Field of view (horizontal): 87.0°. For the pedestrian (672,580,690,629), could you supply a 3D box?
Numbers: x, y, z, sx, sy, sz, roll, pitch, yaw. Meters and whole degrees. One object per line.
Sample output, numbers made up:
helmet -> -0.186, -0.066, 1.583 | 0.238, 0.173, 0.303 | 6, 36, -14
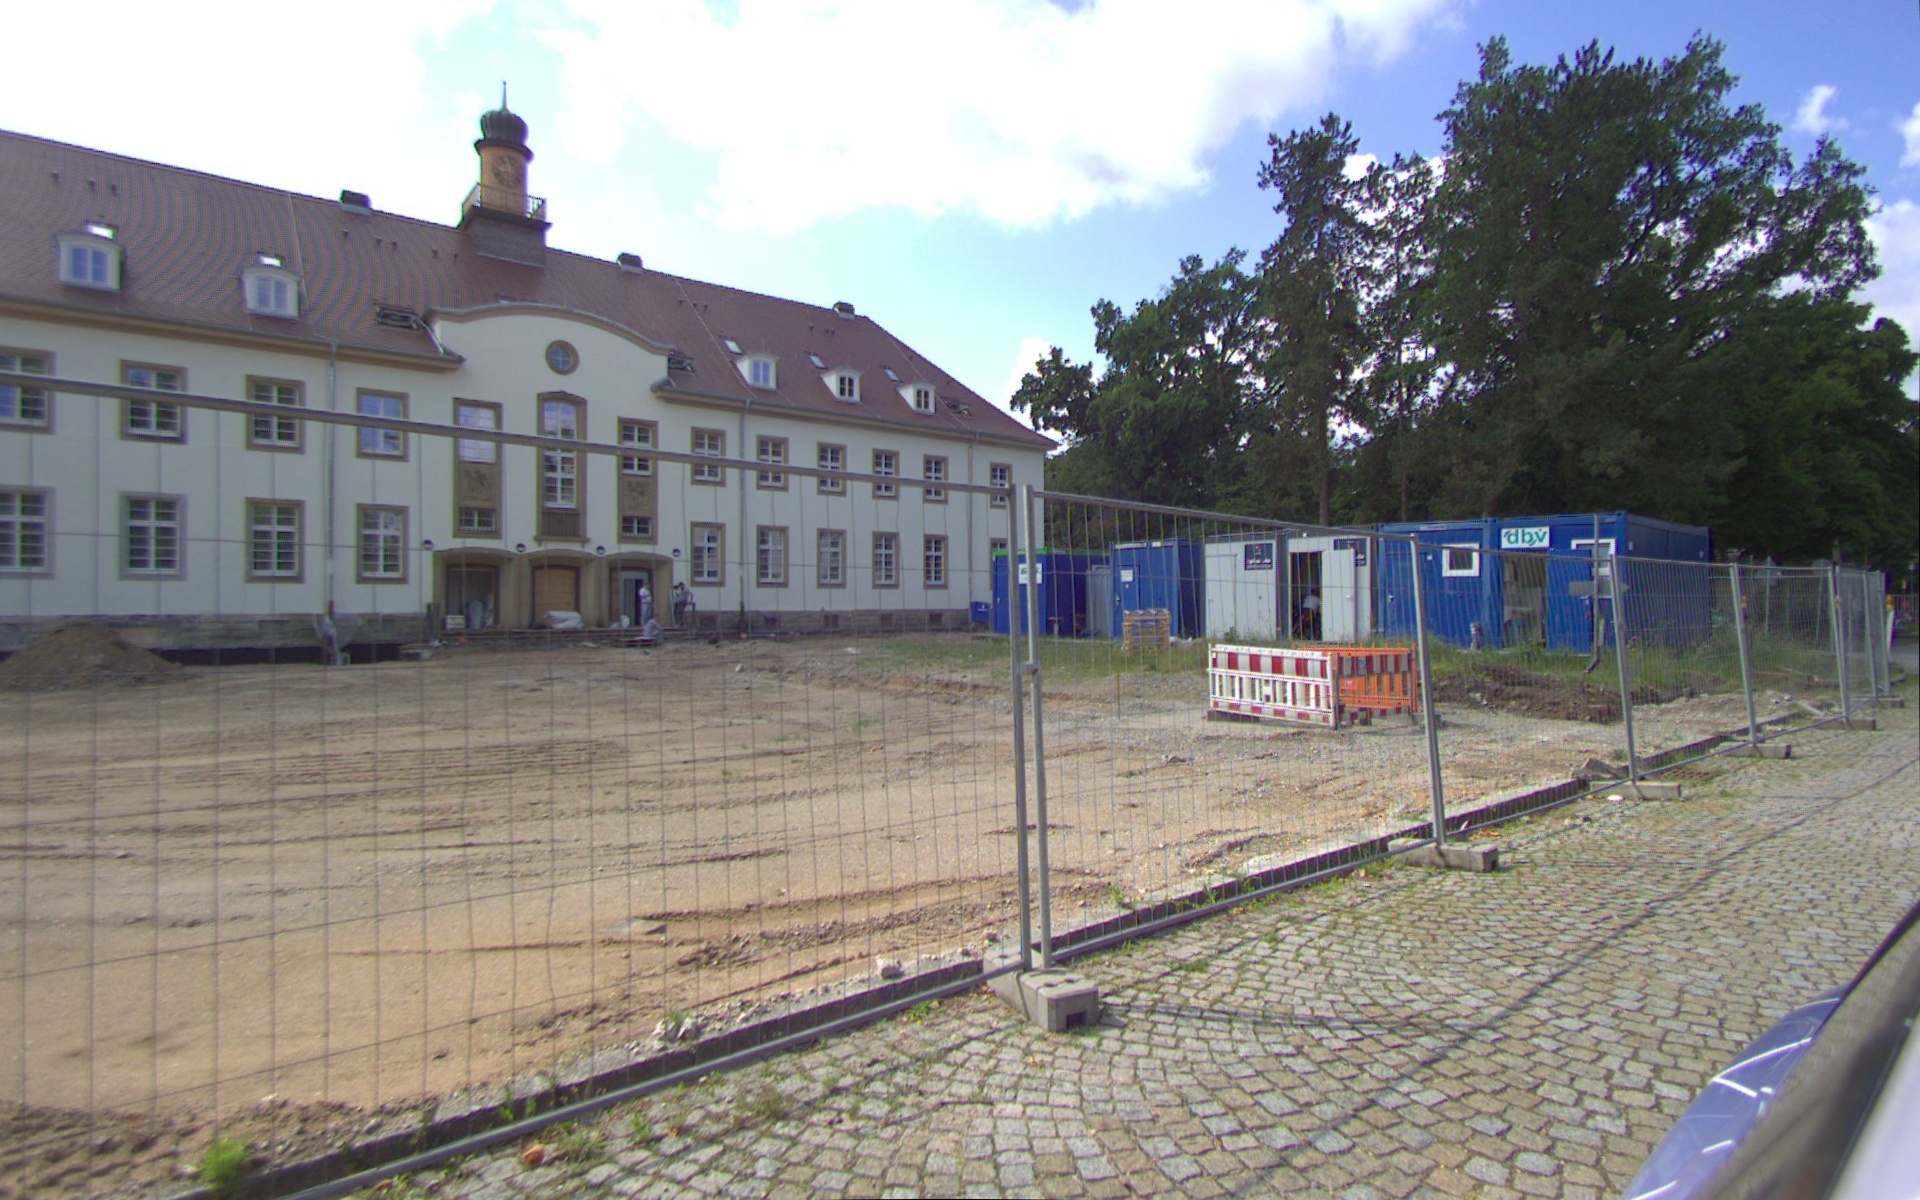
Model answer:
pedestrian -> -10.563, 0.166, 38.329 | 0.498, 1.810, 0.490 | 0, -1, -42

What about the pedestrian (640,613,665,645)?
pedestrian -> -11.002, 1.023, 36.219 | 0.697, 1.128, 0.490 | 0, -1, -41

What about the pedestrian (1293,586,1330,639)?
pedestrian -> 8.654, 0.304, 24.911 | 0.671, 1.259, 0.602 | 0, -1, -41

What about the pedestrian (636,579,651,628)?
pedestrian -> -11.727, 0.121, 37.494 | 0.496, 1.810, 0.492 | 0, -1, -17
